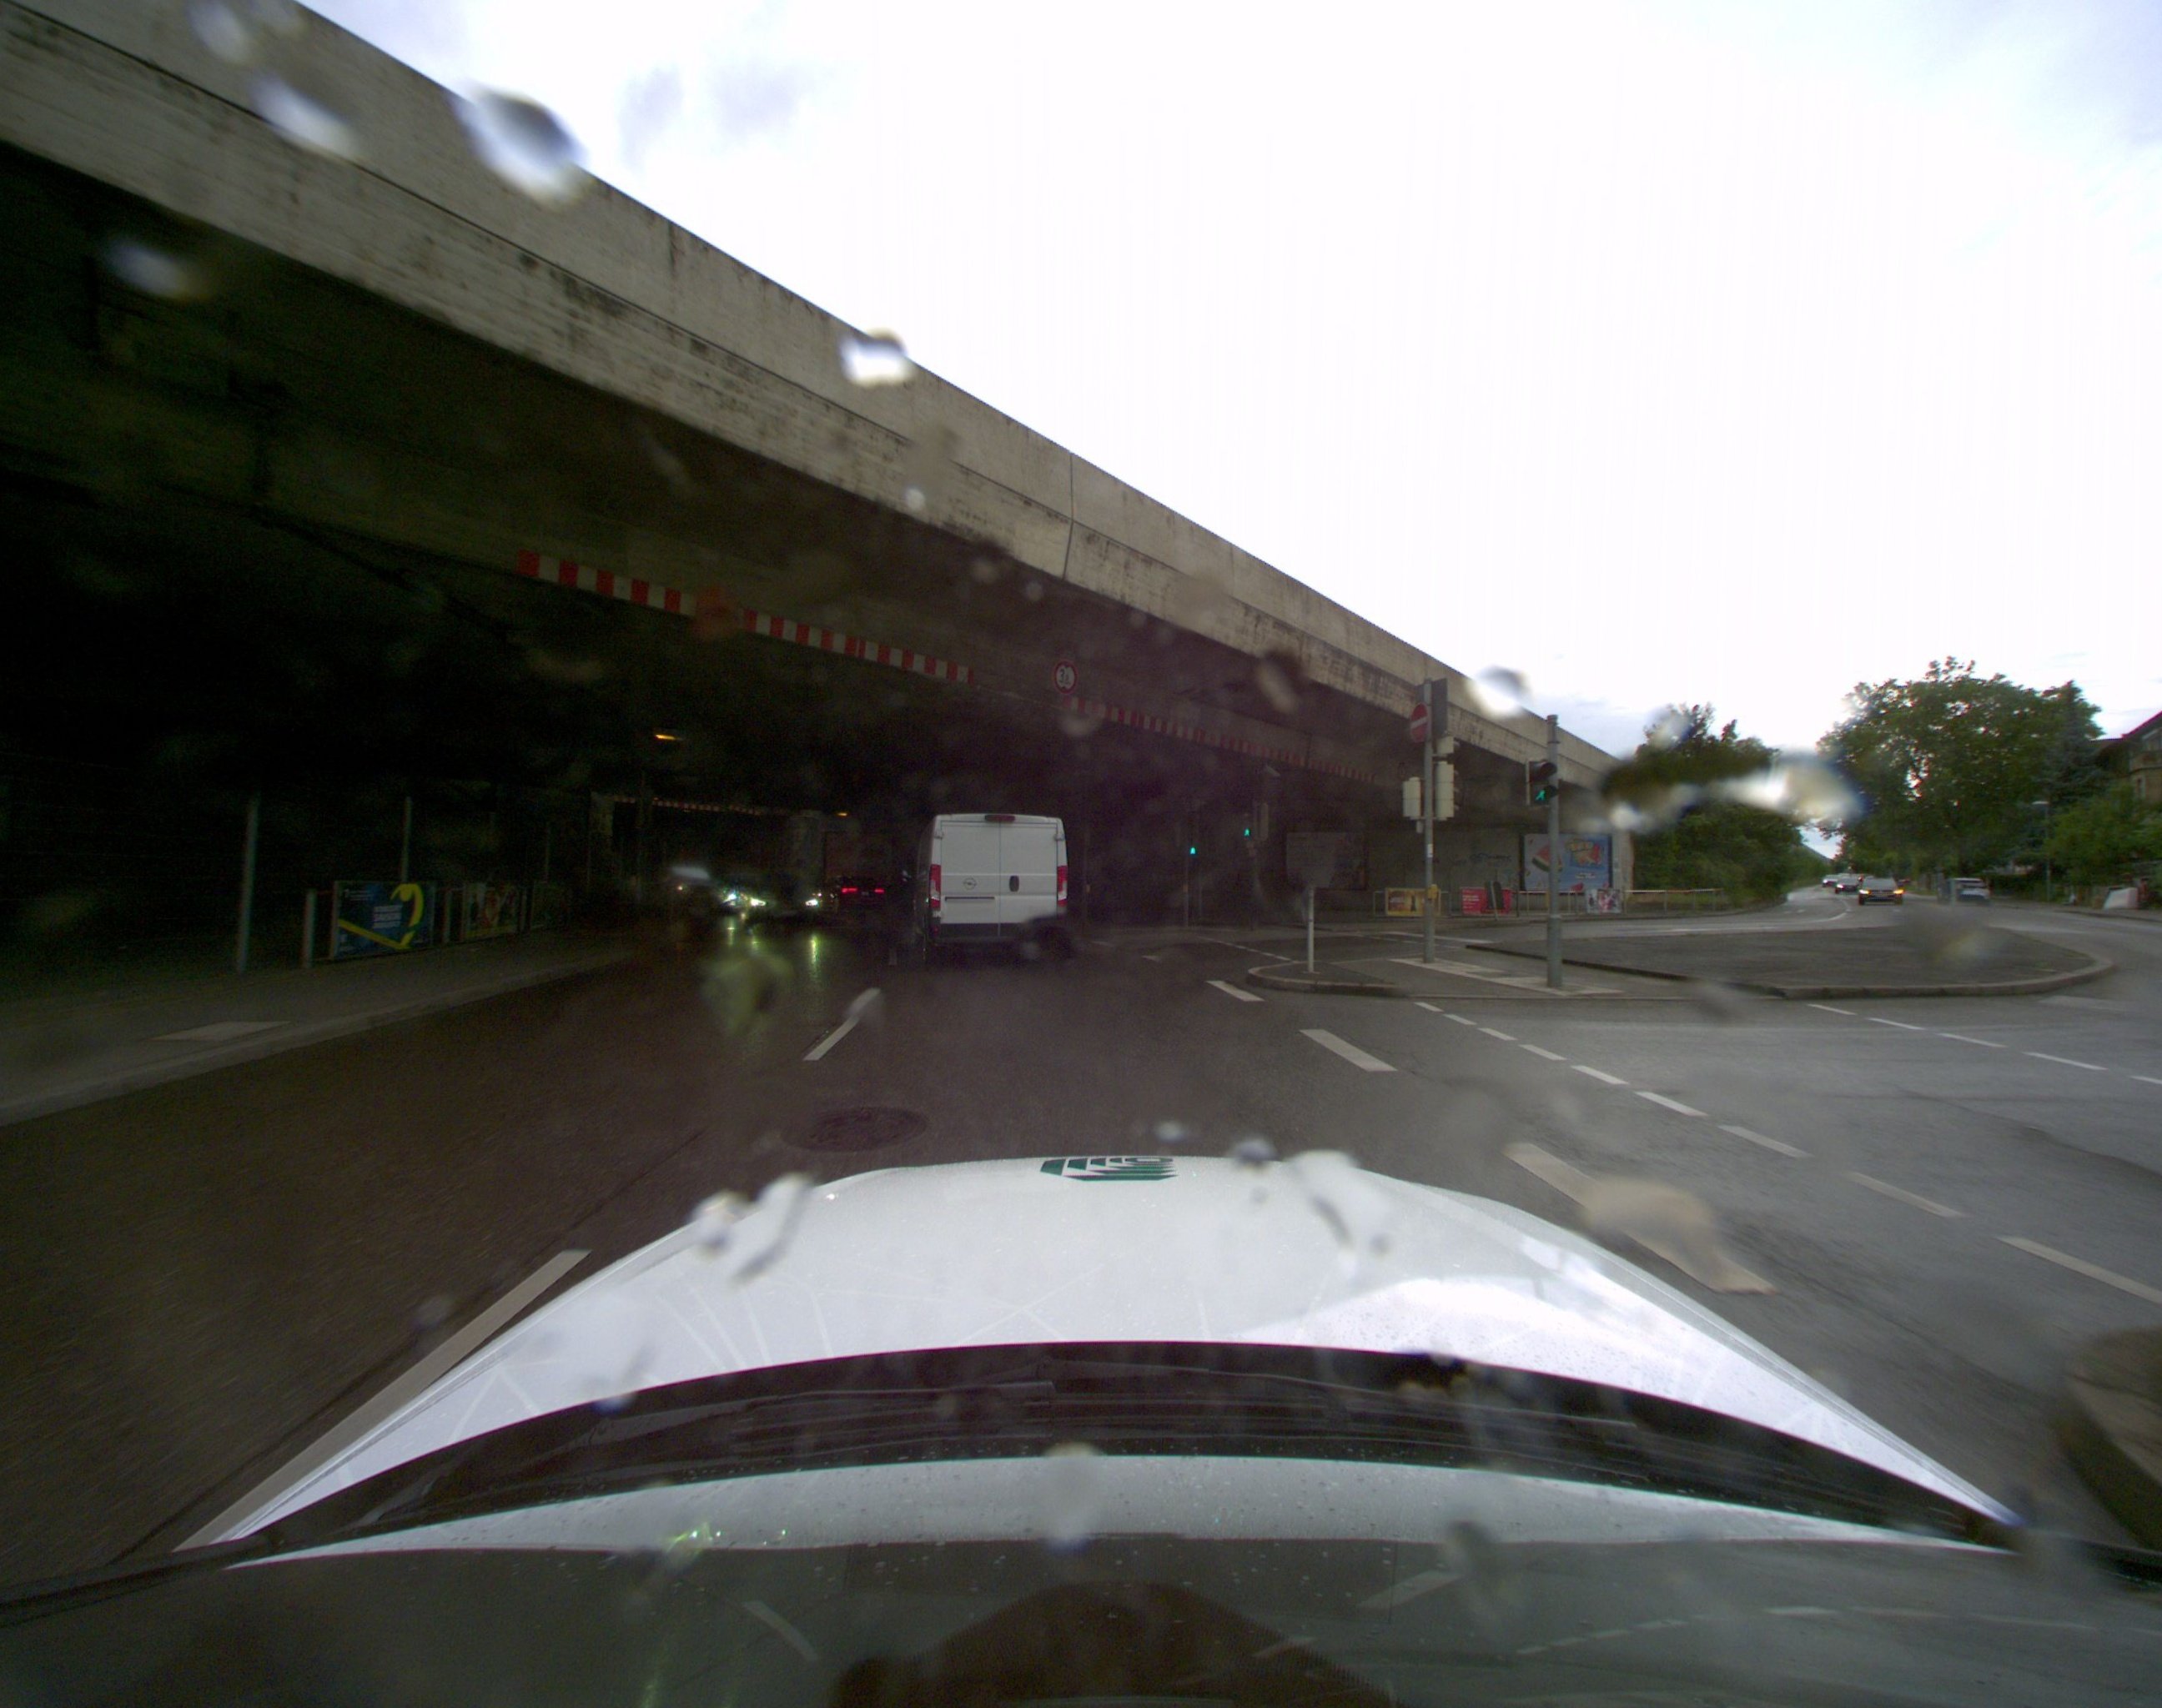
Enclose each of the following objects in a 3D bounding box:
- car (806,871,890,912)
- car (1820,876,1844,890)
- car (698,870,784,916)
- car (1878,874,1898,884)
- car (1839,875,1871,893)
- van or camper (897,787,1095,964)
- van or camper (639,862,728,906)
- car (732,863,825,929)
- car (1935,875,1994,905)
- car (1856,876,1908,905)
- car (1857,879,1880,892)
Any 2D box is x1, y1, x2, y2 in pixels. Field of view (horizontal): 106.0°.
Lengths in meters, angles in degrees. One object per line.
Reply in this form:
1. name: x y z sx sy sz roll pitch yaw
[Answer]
1. car: -8.896 1.395 30.873 1.849 1.438 4.059 2 -2 -35
2. car: 90.436 3.460 98.086 1.857 1.530 4.025 1 0 39
3. car: -11.843 1.329 28.252 2.007 1.465 4.062 2 -2 -33
4. car: 127.724 3.891 128.849 1.857 1.530 4.025 1 0 39
5. car: 71.050 2.742 74.833 1.857 1.530 4.025 1 0 39
6. van or camper: -1.686 0.308 13.844 2.702 2.416 4.881 1 0 -13
7. van or camper: -18.054 1.357 36.838 5.075 1.868 2.011 -2 -3 45
8. car: -8.639 1.110 23.011 2.004 1.530 4.462 2 0 -26
9. car: 49.628 1.977 45.821 1.858 1.530 4.024 1 0 42
10. car: 45.735 2.070 46.492 4.256 1.580 1.748 2 -4 -41
11. car: 101.818 4.074 105.299 1.857 1.530 4.025 1 0 39
